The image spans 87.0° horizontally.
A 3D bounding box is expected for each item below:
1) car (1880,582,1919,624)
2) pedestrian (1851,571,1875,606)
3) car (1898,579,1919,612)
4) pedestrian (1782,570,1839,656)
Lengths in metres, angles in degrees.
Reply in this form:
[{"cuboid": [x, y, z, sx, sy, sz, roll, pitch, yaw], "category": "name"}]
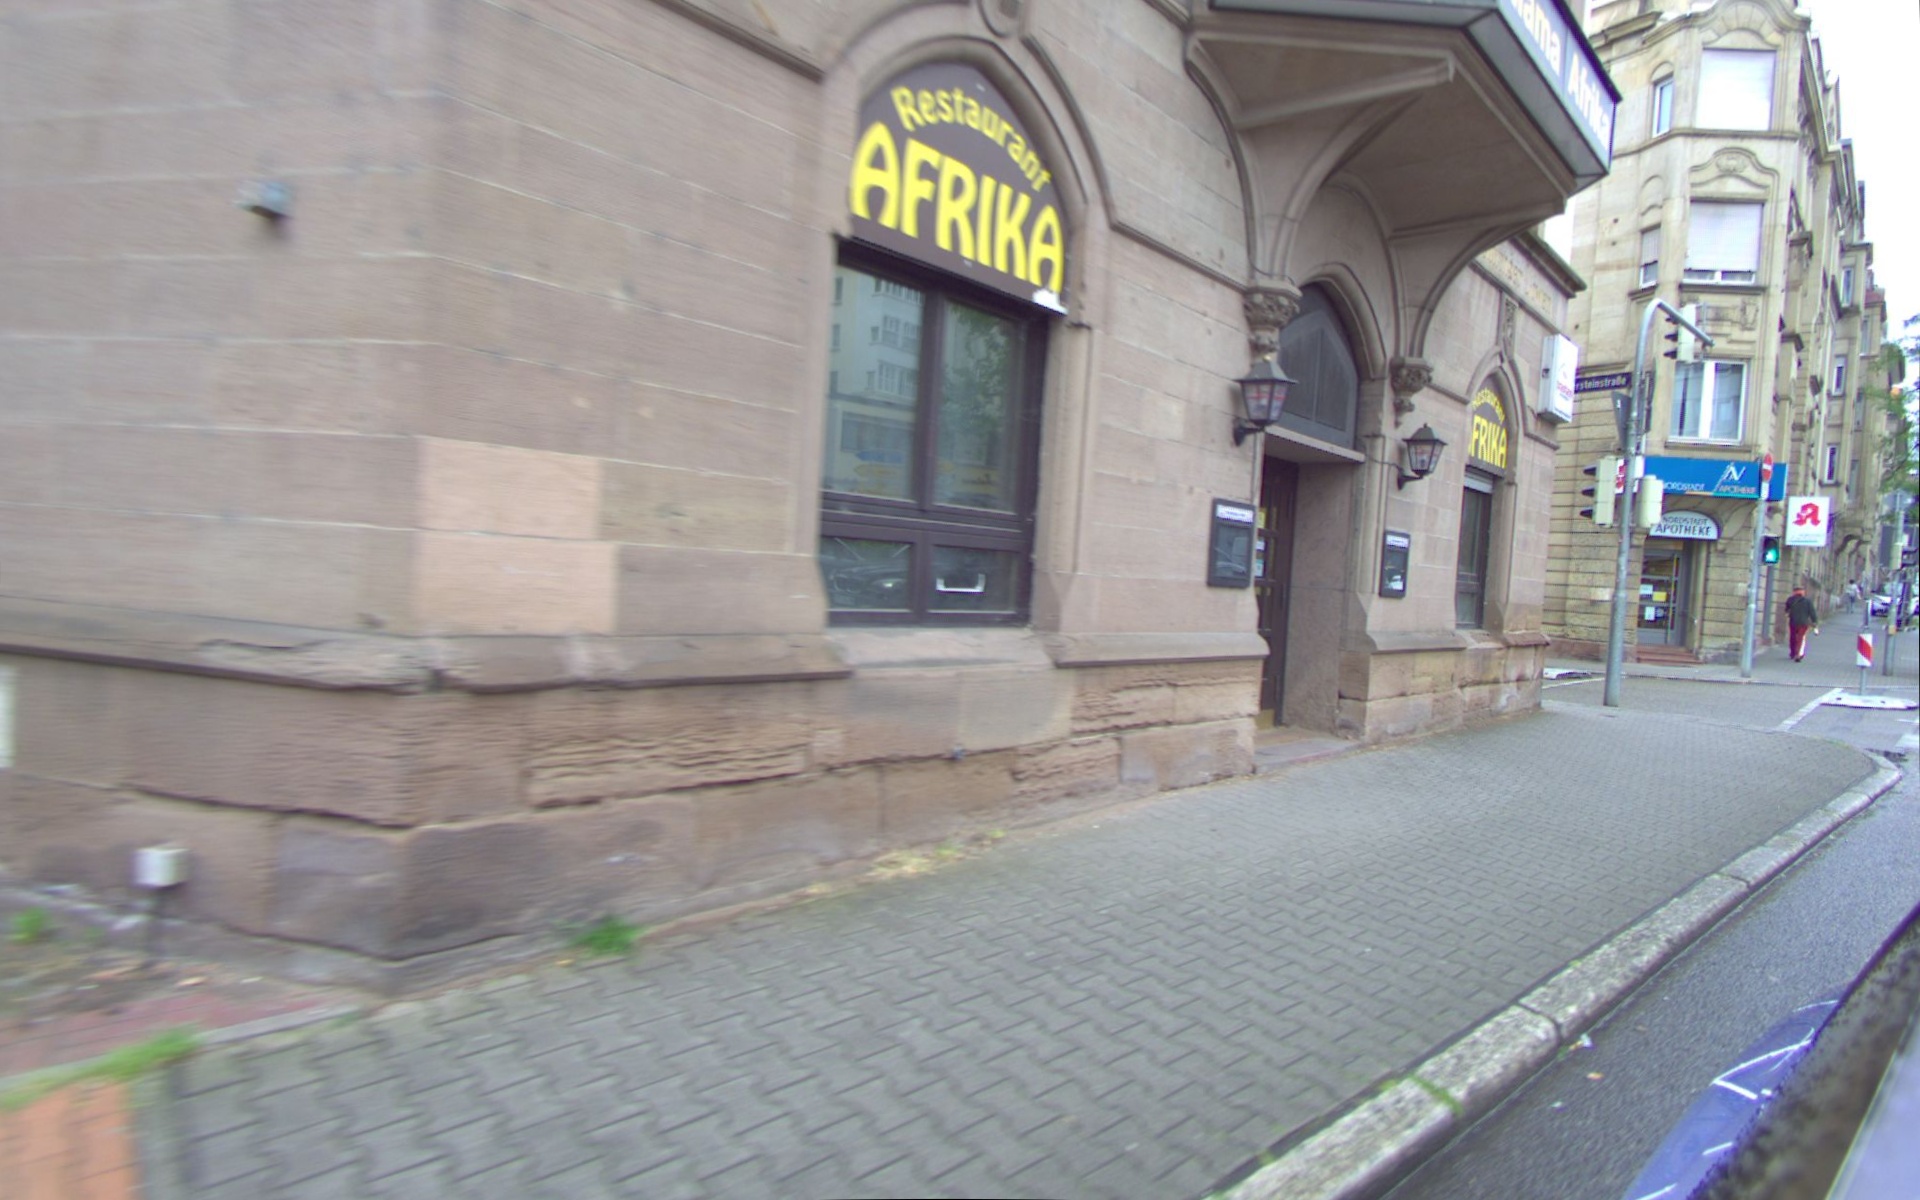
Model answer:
[{"cuboid": [43.763, 0.115, 46.826, 1.524, 1.636, 3.439, 9, 9, 43], "category": "car"}, {"cuboid": [41.762, -0.546, 46.797, 0.644, 1.513, 0.680, 8, 10, 44], "category": "pedestrian"}, {"cuboid": [47.822, -0.218, 50.305, 1.545, 1.503, 3.704, 9, 8, 43], "category": "car"}, {"cuboid": [20.603, 0.288, 24.511, 1.071, 1.971, 0.700, -3, 7, -38], "category": "pedestrian"}]
